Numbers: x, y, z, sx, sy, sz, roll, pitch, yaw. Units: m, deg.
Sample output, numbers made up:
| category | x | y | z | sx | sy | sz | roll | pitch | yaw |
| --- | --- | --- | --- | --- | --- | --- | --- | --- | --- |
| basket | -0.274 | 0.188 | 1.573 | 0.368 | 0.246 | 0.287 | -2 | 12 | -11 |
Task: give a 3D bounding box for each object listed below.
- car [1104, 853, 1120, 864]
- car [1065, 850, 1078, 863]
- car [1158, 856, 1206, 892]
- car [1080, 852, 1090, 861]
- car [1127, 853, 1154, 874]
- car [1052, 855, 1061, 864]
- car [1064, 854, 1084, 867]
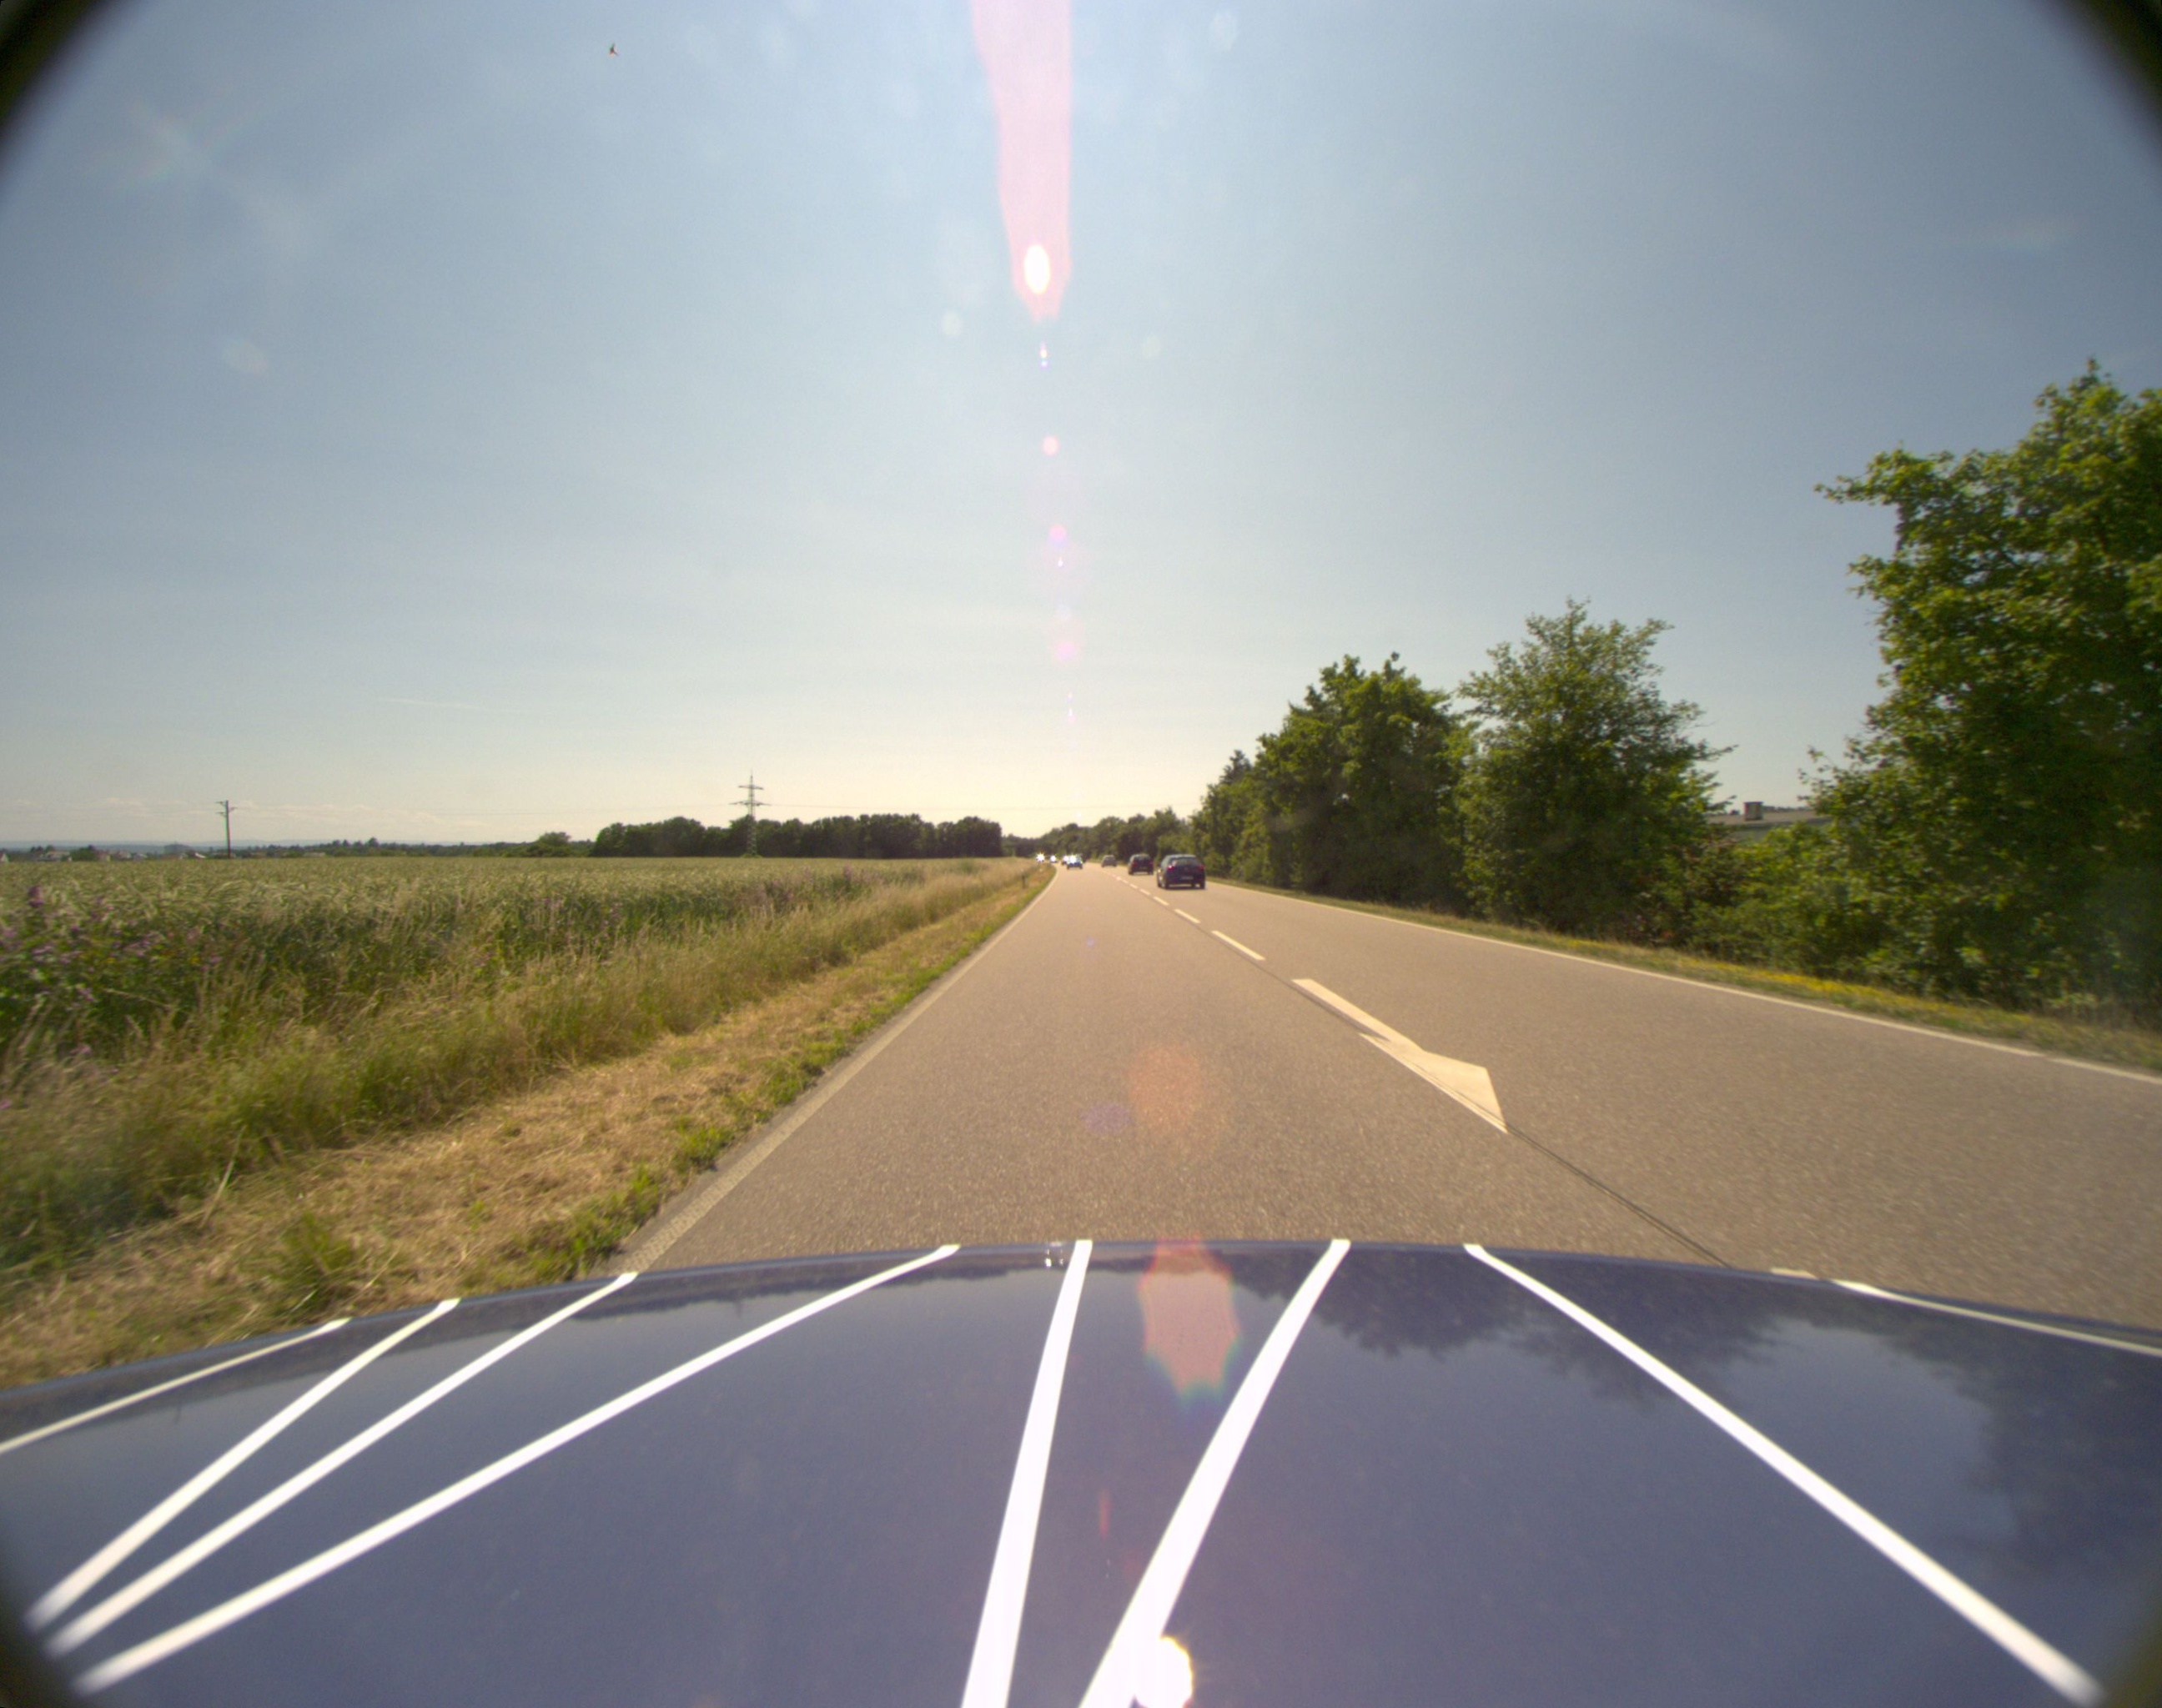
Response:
| category | x | y | z | sx | sy | sz | roll | pitch | yaw |
| --- | --- | --- | --- | --- | --- | --- | --- | --- | --- |
| car | 3.810 | 0.546 | 94.250 | 1.711 | 1.373 | 3.819 | -2 | 0 | -1 |
| car | -1.536 | 0.444 | 123.901 | 1.998 | 2.002 | 4.000 | -1 | 0 | 1 |
| car | 4.323 | 0.804 | 32.930 | 1.656 | 1.398 | 4.000 | -2 | 0 | 2 |
| car | 0.706 | 0.469 | 153.620 | 1.823 | 1.691 | 5.000 | -1 | 0 | -1 |
| car | 4.343 | 0.698 | 55.520 | 1.601 | 1.433 | 4.000 | -2 | 0 | 0 |
| car | -5.312 | 1.191 | 165.420 | 1.554 | 1.659 | 3.997 | -2 | 1 | -6 |
| car | -0.797 | 0.772 | 86.977 | 1.694 | 1.431 | 3.707 | -1 | 0 | -9 |
